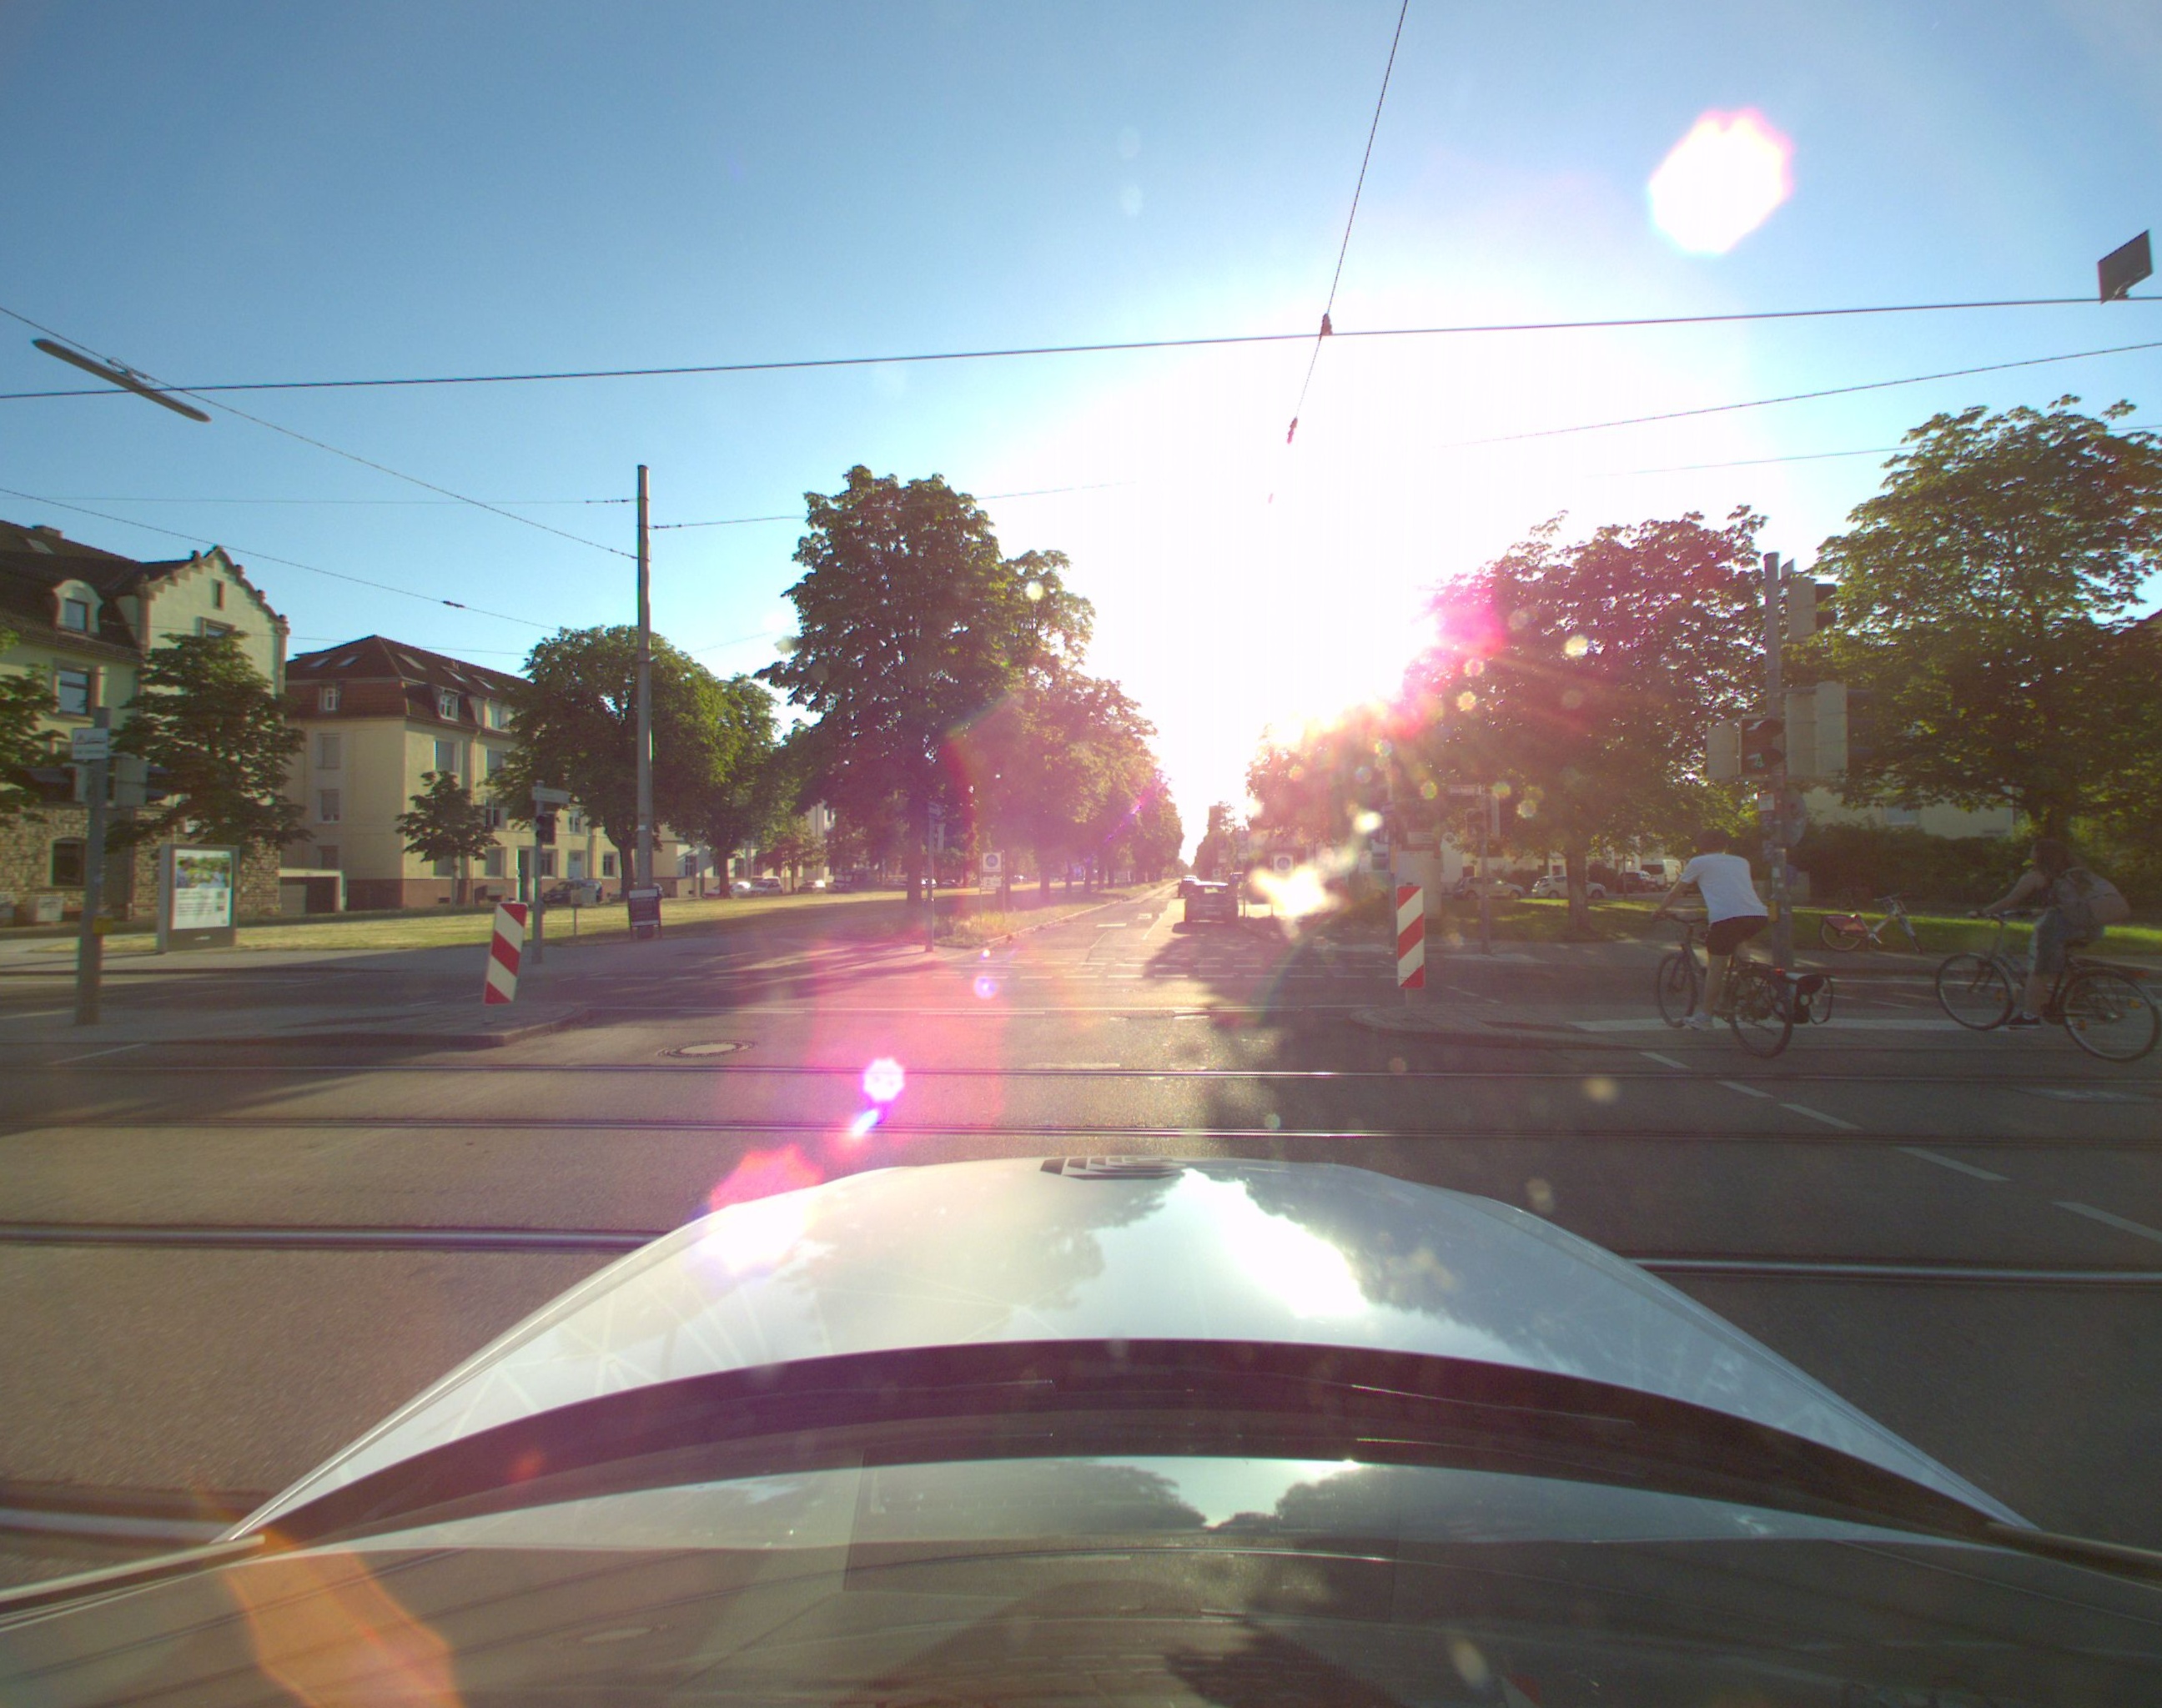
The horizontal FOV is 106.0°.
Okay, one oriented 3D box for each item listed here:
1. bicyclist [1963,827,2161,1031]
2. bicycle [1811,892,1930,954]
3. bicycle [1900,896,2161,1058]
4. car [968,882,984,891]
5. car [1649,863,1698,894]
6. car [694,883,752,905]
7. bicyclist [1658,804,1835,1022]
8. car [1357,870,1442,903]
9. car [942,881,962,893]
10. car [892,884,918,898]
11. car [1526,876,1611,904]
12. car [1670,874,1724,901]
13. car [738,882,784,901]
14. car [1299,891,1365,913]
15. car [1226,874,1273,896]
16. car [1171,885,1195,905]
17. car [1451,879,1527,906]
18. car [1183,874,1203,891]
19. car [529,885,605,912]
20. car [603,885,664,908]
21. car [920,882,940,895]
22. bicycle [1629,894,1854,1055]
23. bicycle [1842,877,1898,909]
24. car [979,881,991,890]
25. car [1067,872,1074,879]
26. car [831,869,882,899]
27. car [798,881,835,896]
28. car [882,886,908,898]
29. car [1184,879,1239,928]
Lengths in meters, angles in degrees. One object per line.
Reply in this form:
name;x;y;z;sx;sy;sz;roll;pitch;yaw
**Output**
bicyclist;8.172;0.599;6.769;0.709;1.563;0.894;2;-3;2
bicycle;14.533;1.253;15.025;1.511;1.089;0.469;-1;-2;15
bicycle;8.208;0.961;6.974;0.489;1.184;1.965;2;-3;4
car;-20.911;6.505;162.217;1.982;1.659;4.365;2;-3;9
car;48.218;1.996;66.250;4.540;2.338;2.088;4;-3;-39
car;-28.401;3.189;64.782;1.982;1.659;4.581;2;-2;9
bicyclist;5.688;0.492;7.029;0.811;1.732;0.894;2;-3;2
car;18.490;1.913;47.496;4.219;1.875;2.034;-1;-3;7
car;-19.955;5.127;125.677;1.801;1.781;4.131;2;-3;8
car;-22.757;4.777;105.635;1.869;1.674;4.324;2;-2;8
car;27.795;2.055;46.475;3.905;1.524;1.524;1;-4;2
car;38.584;2.070;50.974;4.021;1.552;1.976;1;-2;-42
car;-27.603;3.219;70.435;1.787;1.554;4.426;2;-1;6
car;16.665;3.182;54.187;3.966;1.447;1.719;0;-3;7
car;15.730;2.893;76.176;3.970;1.823;1.760;-1;-8;3
car;7.740;3.092;61.541;1.700;1.360;4.211;2;-2;8
car;23.247;2.188;46.451;3.540;1.516;1.606;0;-3;1
car;11.925;3.025;87.186;1.983;1.782;4.007;2;-1;7
car;-35.495;3.044;56.369;1.982;1.736;4.321;2;-3;9
car;-34.396;3.252;62.694;1.982;1.659;4.009;2;-3;9
car;-24.611;5.661;132.761;1.983;2.014;4.006;2;-3;6
bicycle;5.688;0.963;7.179;0.569;1.184;1.907;2;-2;5
bicycle;31.609;1.581;32.663;0.447;1.238;1.956;2;-4;5
car;-20.036;6.581;169.619;1.631;1.643;3.860;2;-2;6
car;-3.044;6.338;241.264;1.645;1.939;3.573;2;-4;7
car;-24.774;3.288;90.282;2.379;3.131;7.868;2;-1;8
car;-29.958;3.926;92.459;1.982;1.659;4.581;2;-2;9
car;-26.479;5.378;116.134;1.982;1.659;4.384;2;-3;9
car;4.504;1.689;28.326;1.716;1.511;4.550;2;-2;8
